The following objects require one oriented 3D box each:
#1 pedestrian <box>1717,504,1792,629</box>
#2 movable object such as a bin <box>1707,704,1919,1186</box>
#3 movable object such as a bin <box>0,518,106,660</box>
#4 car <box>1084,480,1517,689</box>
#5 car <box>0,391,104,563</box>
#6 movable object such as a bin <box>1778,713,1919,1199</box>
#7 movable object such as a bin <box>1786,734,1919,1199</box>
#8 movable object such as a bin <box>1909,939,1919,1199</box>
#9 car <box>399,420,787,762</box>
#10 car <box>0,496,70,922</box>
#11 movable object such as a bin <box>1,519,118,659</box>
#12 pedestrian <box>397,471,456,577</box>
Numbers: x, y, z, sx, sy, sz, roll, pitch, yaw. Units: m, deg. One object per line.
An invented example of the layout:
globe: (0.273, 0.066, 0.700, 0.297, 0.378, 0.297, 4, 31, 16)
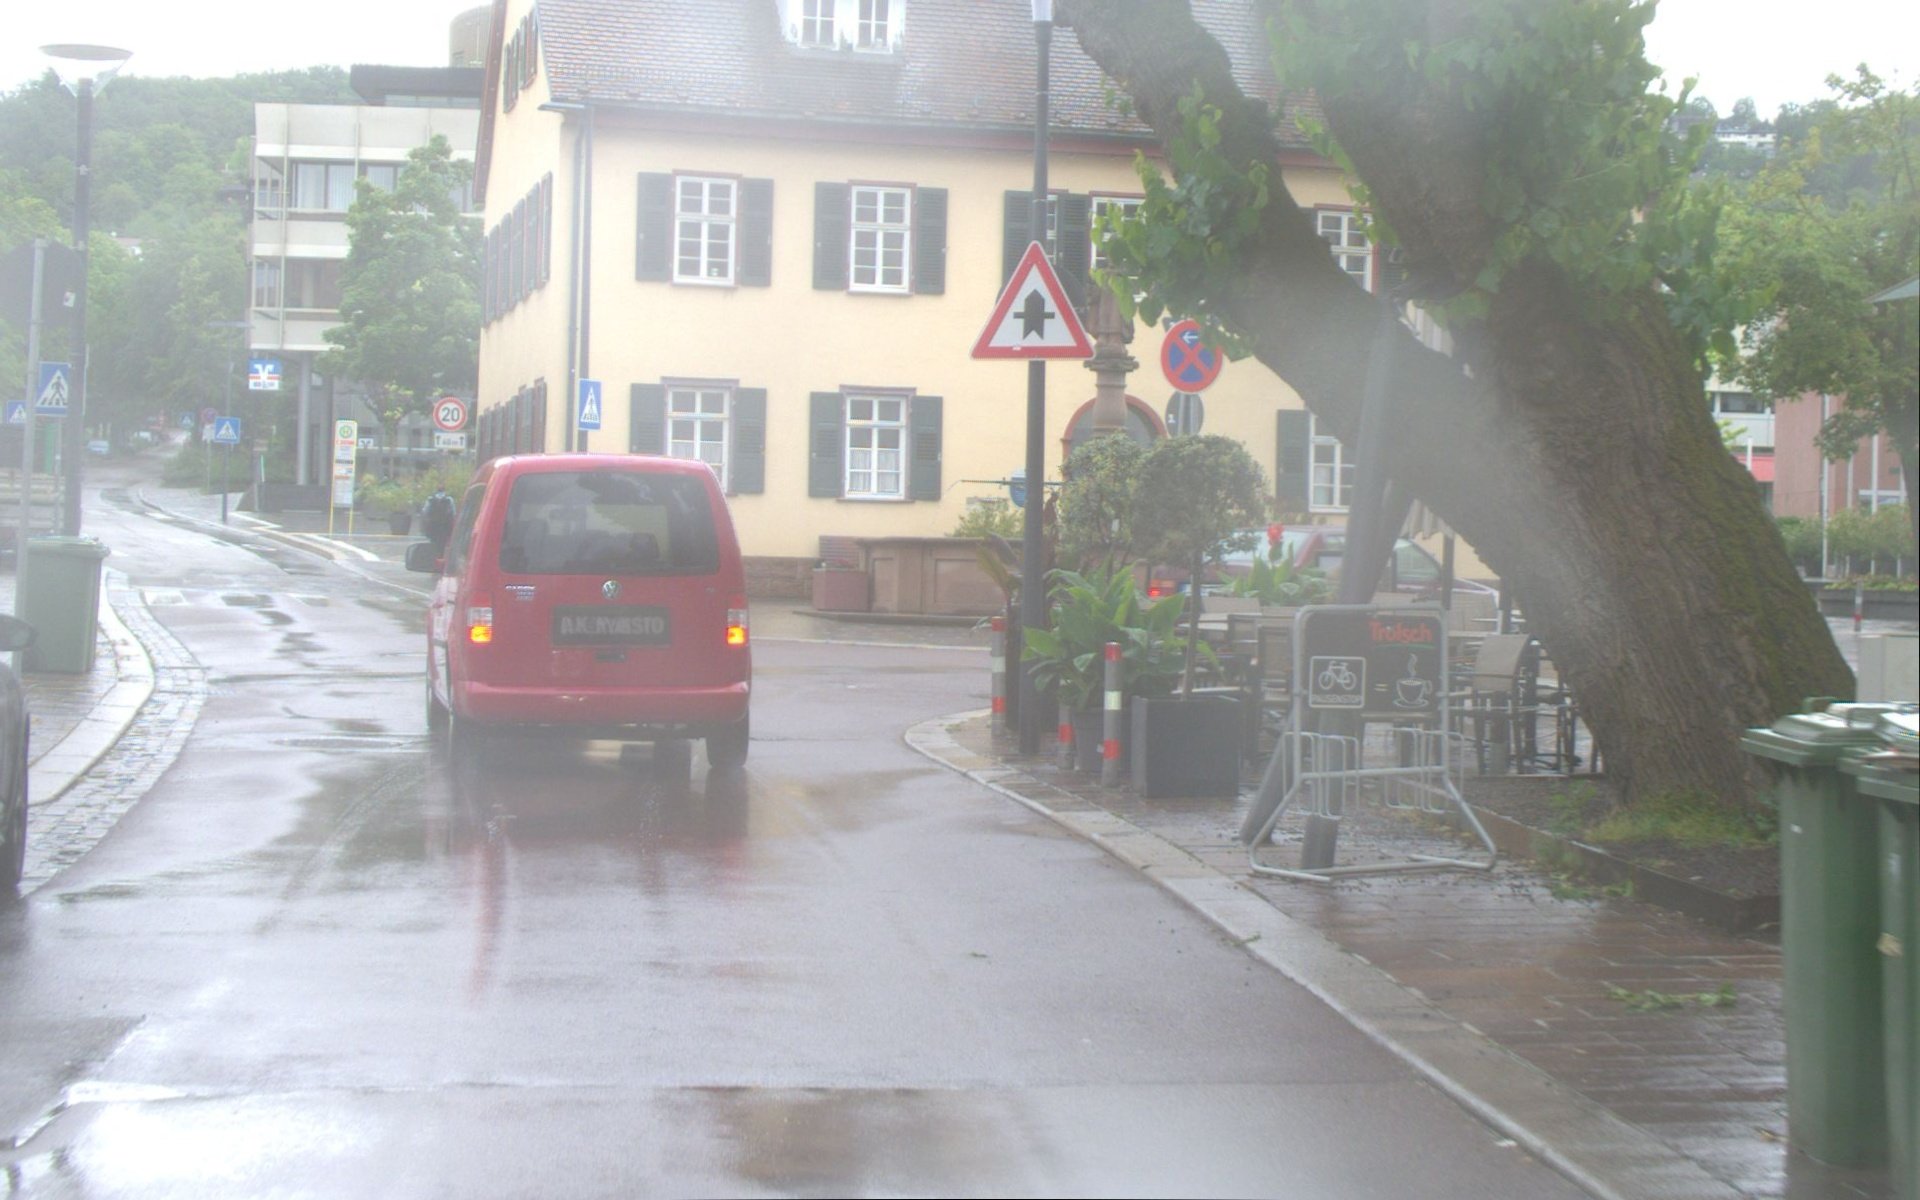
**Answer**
pedestrian: (11.973, -0.495, 51.831, 0.898, 1.836, 0.766, 3, 0, 2)
movable object such as a bin: (2.234, 0.807, 8.184, 0.721, 1.069, 0.649, 3, 0, 0)
movable object such as a bin: (-7.299, -0.086, 27.659, 0.714, 1.102, 0.600, 3, 0, -6)
car: (3.285, -0.126, 32.710, 1.999, 1.793, 3.989, 2, 0, 44)
car: (-15.569, -1.967, 56.941, 2.299, 2.593, 6.960, 3, 0, -16)
movable object such as a bin: (2.229, 0.820, 7.554, 0.677, 1.099, 0.579, 3, 0, 0)
movable object such as a bin: (2.066, 0.842, 6.864, 0.631, 1.100, 0.579, 3, 0, -4)
movable object such as a bin: (2.149, 0.813, 6.252, 0.631, 1.146, 0.579, 3, 0, -4)
car: (-2.344, -0.131, 21.020, 1.893, 1.805, 4.002, 3, 2, -12)
car: (-4.276, 0.354, 12.185, 1.787, 1.490, 4.001, 3, 1, -10)
movable object such as a bin: (-7.421, -0.088, 28.351, 0.794, 1.102, 0.722, 3, 0, -6)
pedestrian: (-9.525, -1.347, 61.418, 0.764, 1.836, 0.901, 2, 0, 6)
